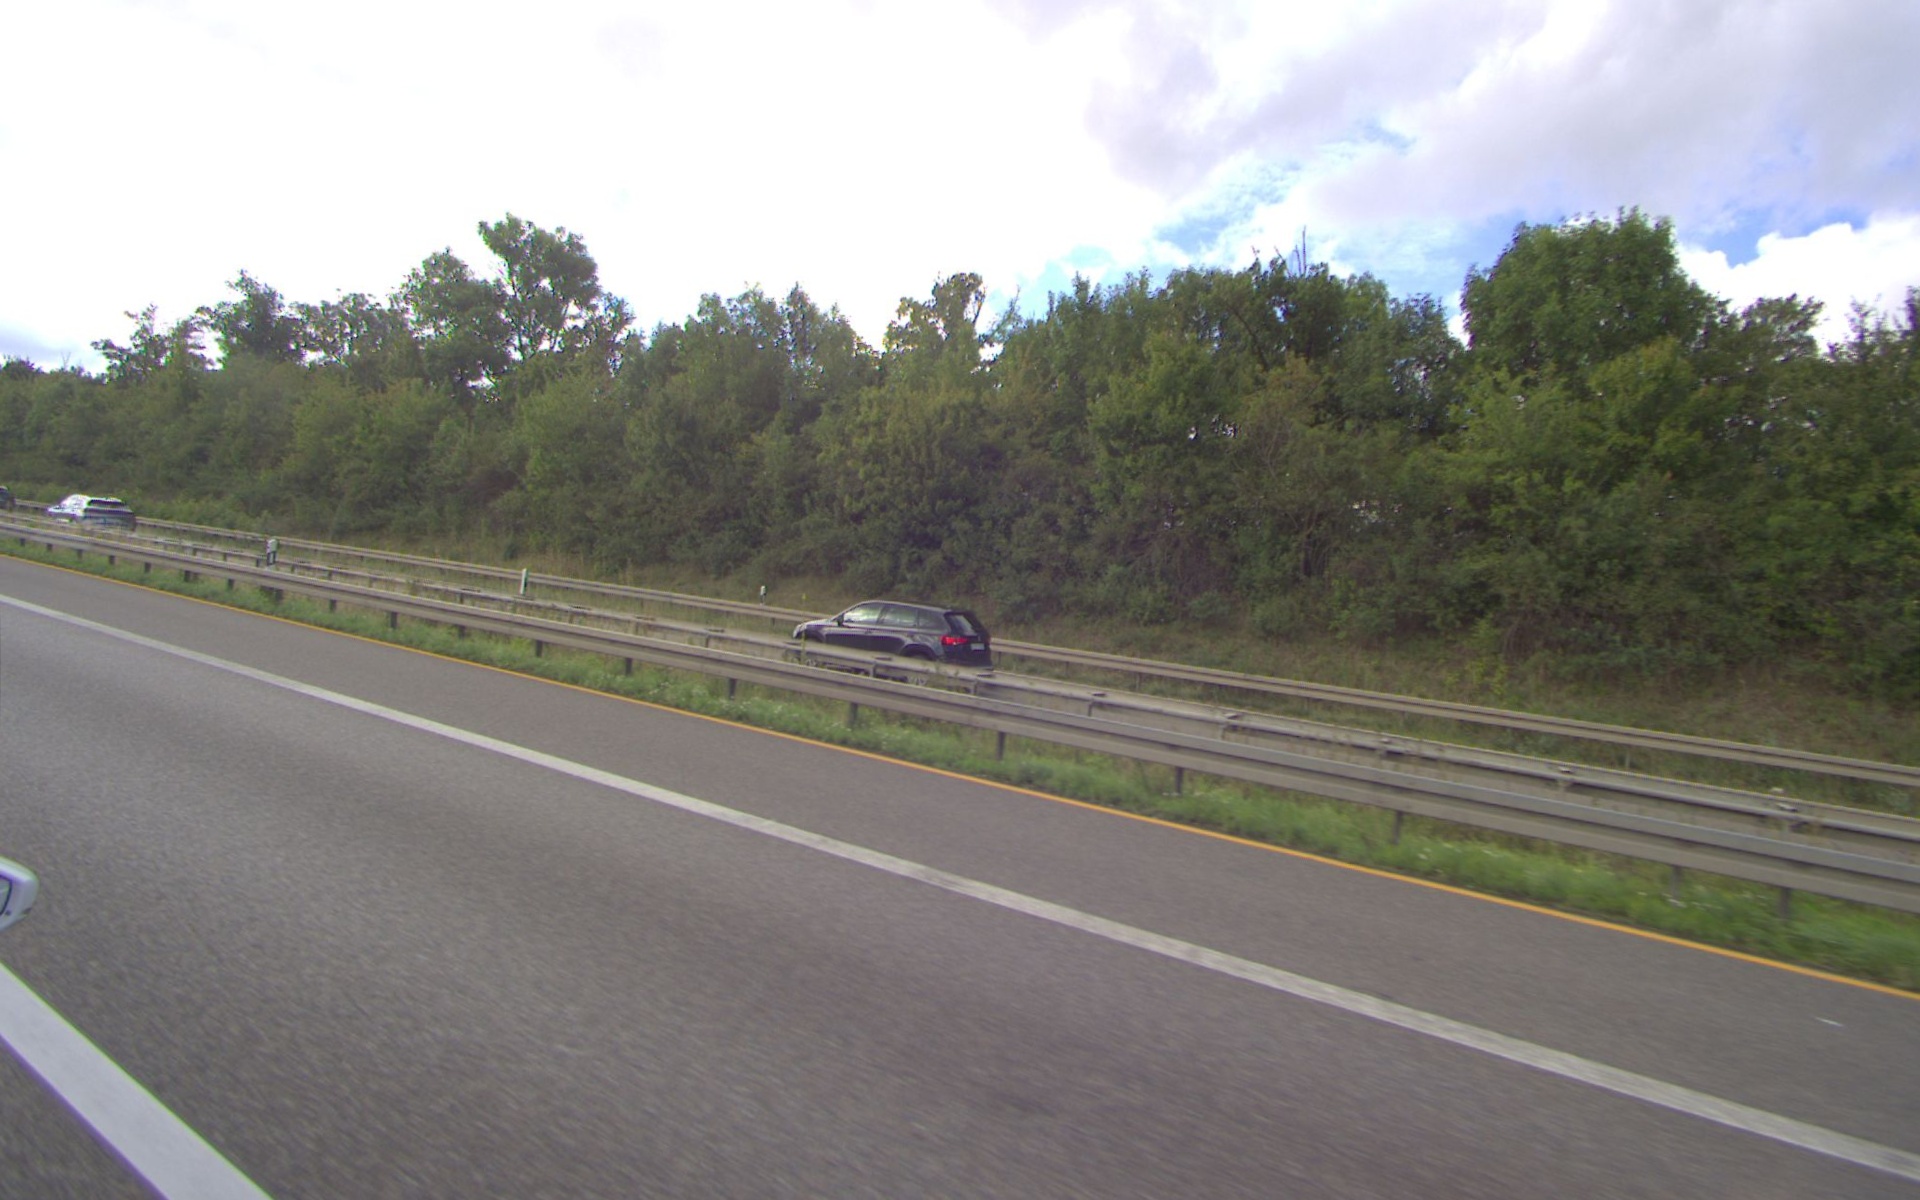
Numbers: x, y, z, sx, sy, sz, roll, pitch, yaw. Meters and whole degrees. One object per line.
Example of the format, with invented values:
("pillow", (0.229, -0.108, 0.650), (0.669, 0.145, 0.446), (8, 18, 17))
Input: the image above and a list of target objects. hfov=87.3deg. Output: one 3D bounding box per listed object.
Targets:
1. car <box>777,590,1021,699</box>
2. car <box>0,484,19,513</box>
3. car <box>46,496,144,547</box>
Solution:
("car", (-1.252, 0.822, 19.819), (4.450, 1.504, 1.844), (7, 2, 32))
("car", (-57.385, -6.139, 59.240), (4.233, 1.566, 1.730), (7, 2, 30))
("car", (-35.782, -3.255, 41.589), (4.234, 1.671, 1.847), (7, 2, 32))
